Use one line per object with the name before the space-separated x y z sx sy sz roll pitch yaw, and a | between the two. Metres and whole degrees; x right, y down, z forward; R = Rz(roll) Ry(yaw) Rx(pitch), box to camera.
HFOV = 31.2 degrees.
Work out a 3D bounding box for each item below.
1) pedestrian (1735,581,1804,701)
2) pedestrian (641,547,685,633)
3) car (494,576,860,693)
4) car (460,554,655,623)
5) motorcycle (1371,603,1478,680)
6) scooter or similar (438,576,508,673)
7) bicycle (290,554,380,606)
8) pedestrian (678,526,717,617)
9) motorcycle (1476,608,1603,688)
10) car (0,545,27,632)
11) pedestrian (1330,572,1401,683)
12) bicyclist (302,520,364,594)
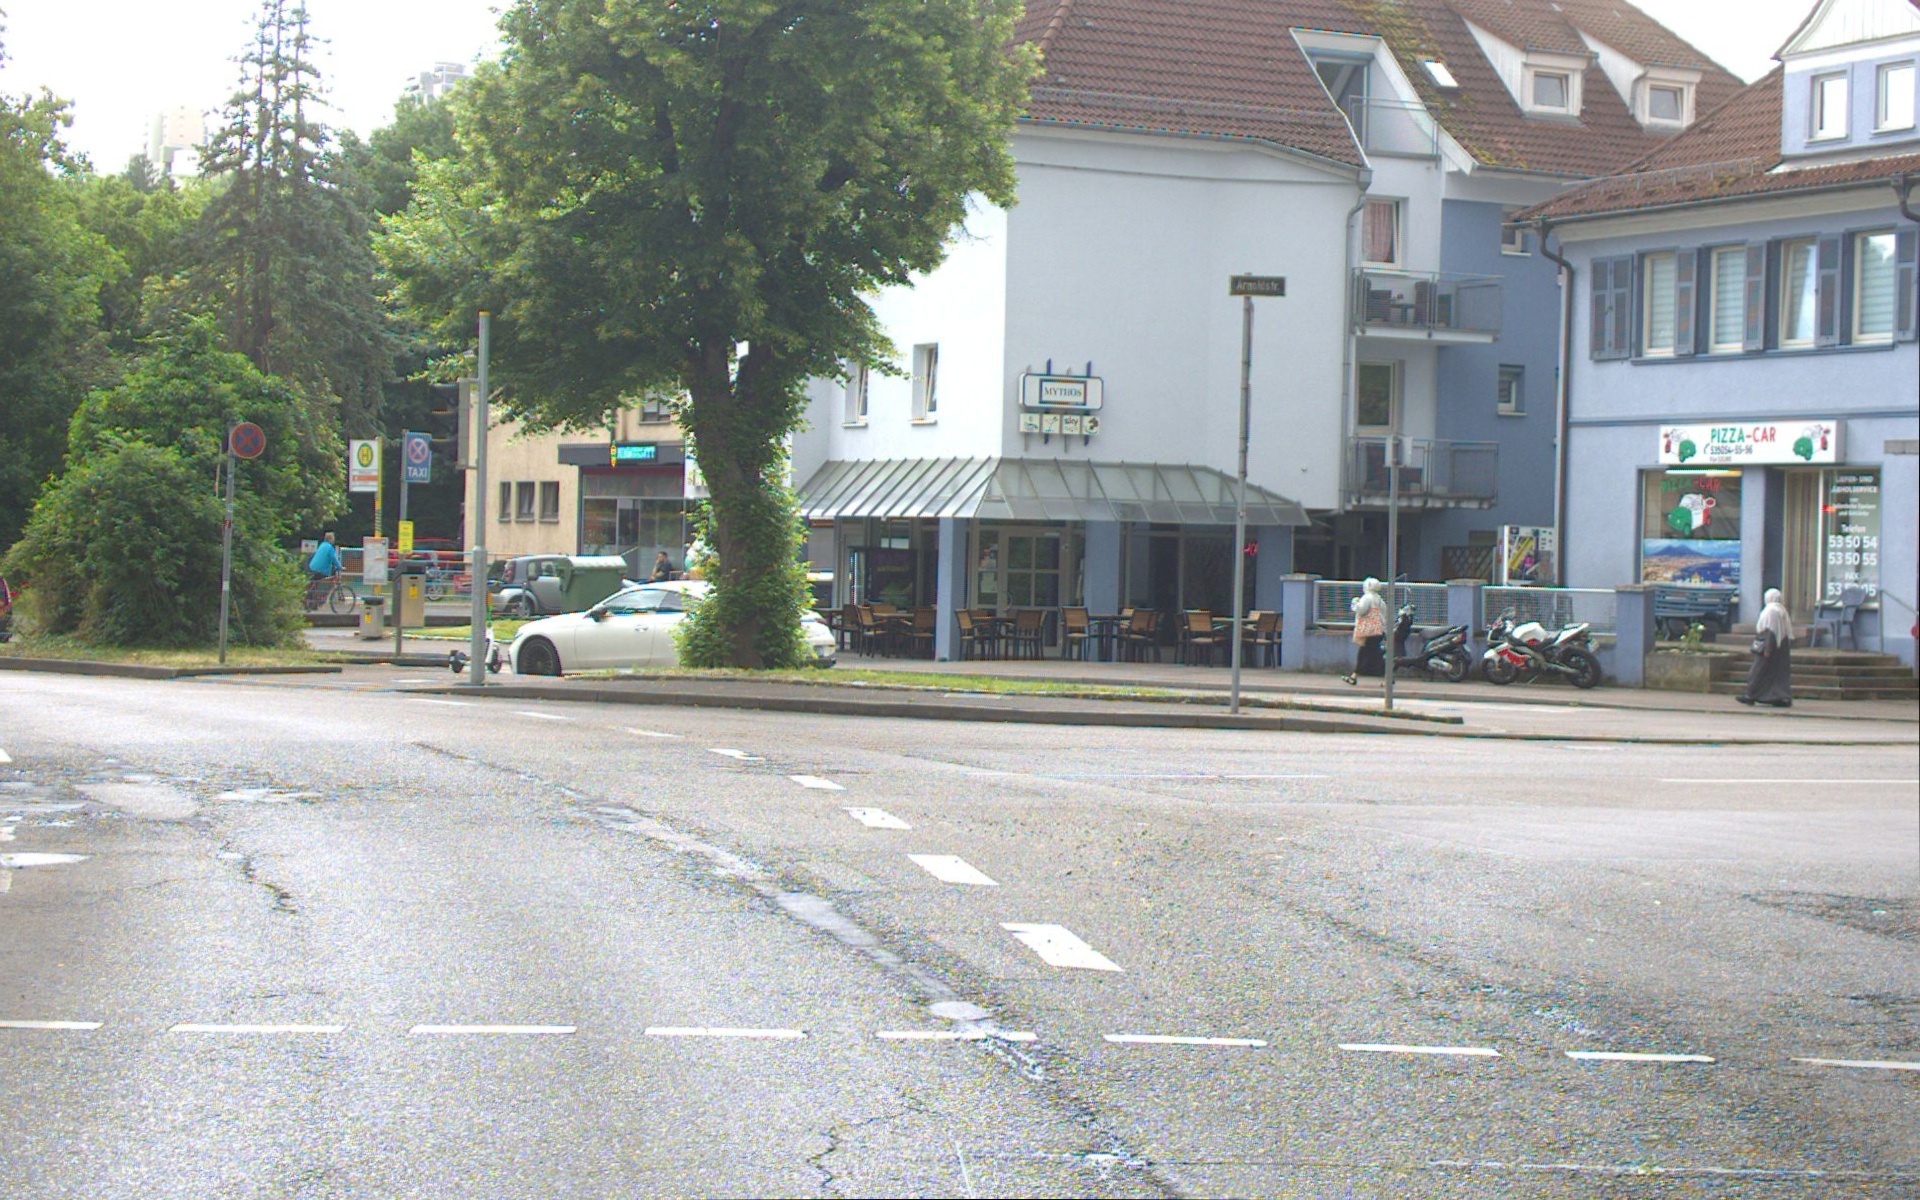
pedestrian | 10.583 0.530 44.949 0.695 1.554 0.665 1 0 31
pedestrian | -6.991 -0.246 80.860 0.837 2.007 1.056 1 1 -14
car | -3.803 0.427 45.754 4.709 1.405 1.898 2 1 35
car | -8.854 -0.258 75.623 3.936 1.437 1.753 1 1 -20
motorcycle | 6.775 0.598 50.127 1.458 1.085 0.523 1 1 35
scooter or similar | -6.028 0.288 42.609 0.442 1.171 1.437 1 1 9
bicycle | -14.106 -0.457 77.688 0.875 1.145 1.949 1 1 34
pedestrian | -4.517 -0.494 59.248 0.543 1.554 0.467 0 0 13
motorcycle | 8.151 0.669 48.357 1.628 1.085 0.626 1 1 32
car | -16.418 -0.209 53.514 3.322 1.347 1.778 1 1 27
pedestrian | 5.753 0.382 48.790 0.732 1.554 0.767 1 0 31
bicyclist | -14.158 -0.972 77.625 0.917 1.646 0.987 1 1 34
